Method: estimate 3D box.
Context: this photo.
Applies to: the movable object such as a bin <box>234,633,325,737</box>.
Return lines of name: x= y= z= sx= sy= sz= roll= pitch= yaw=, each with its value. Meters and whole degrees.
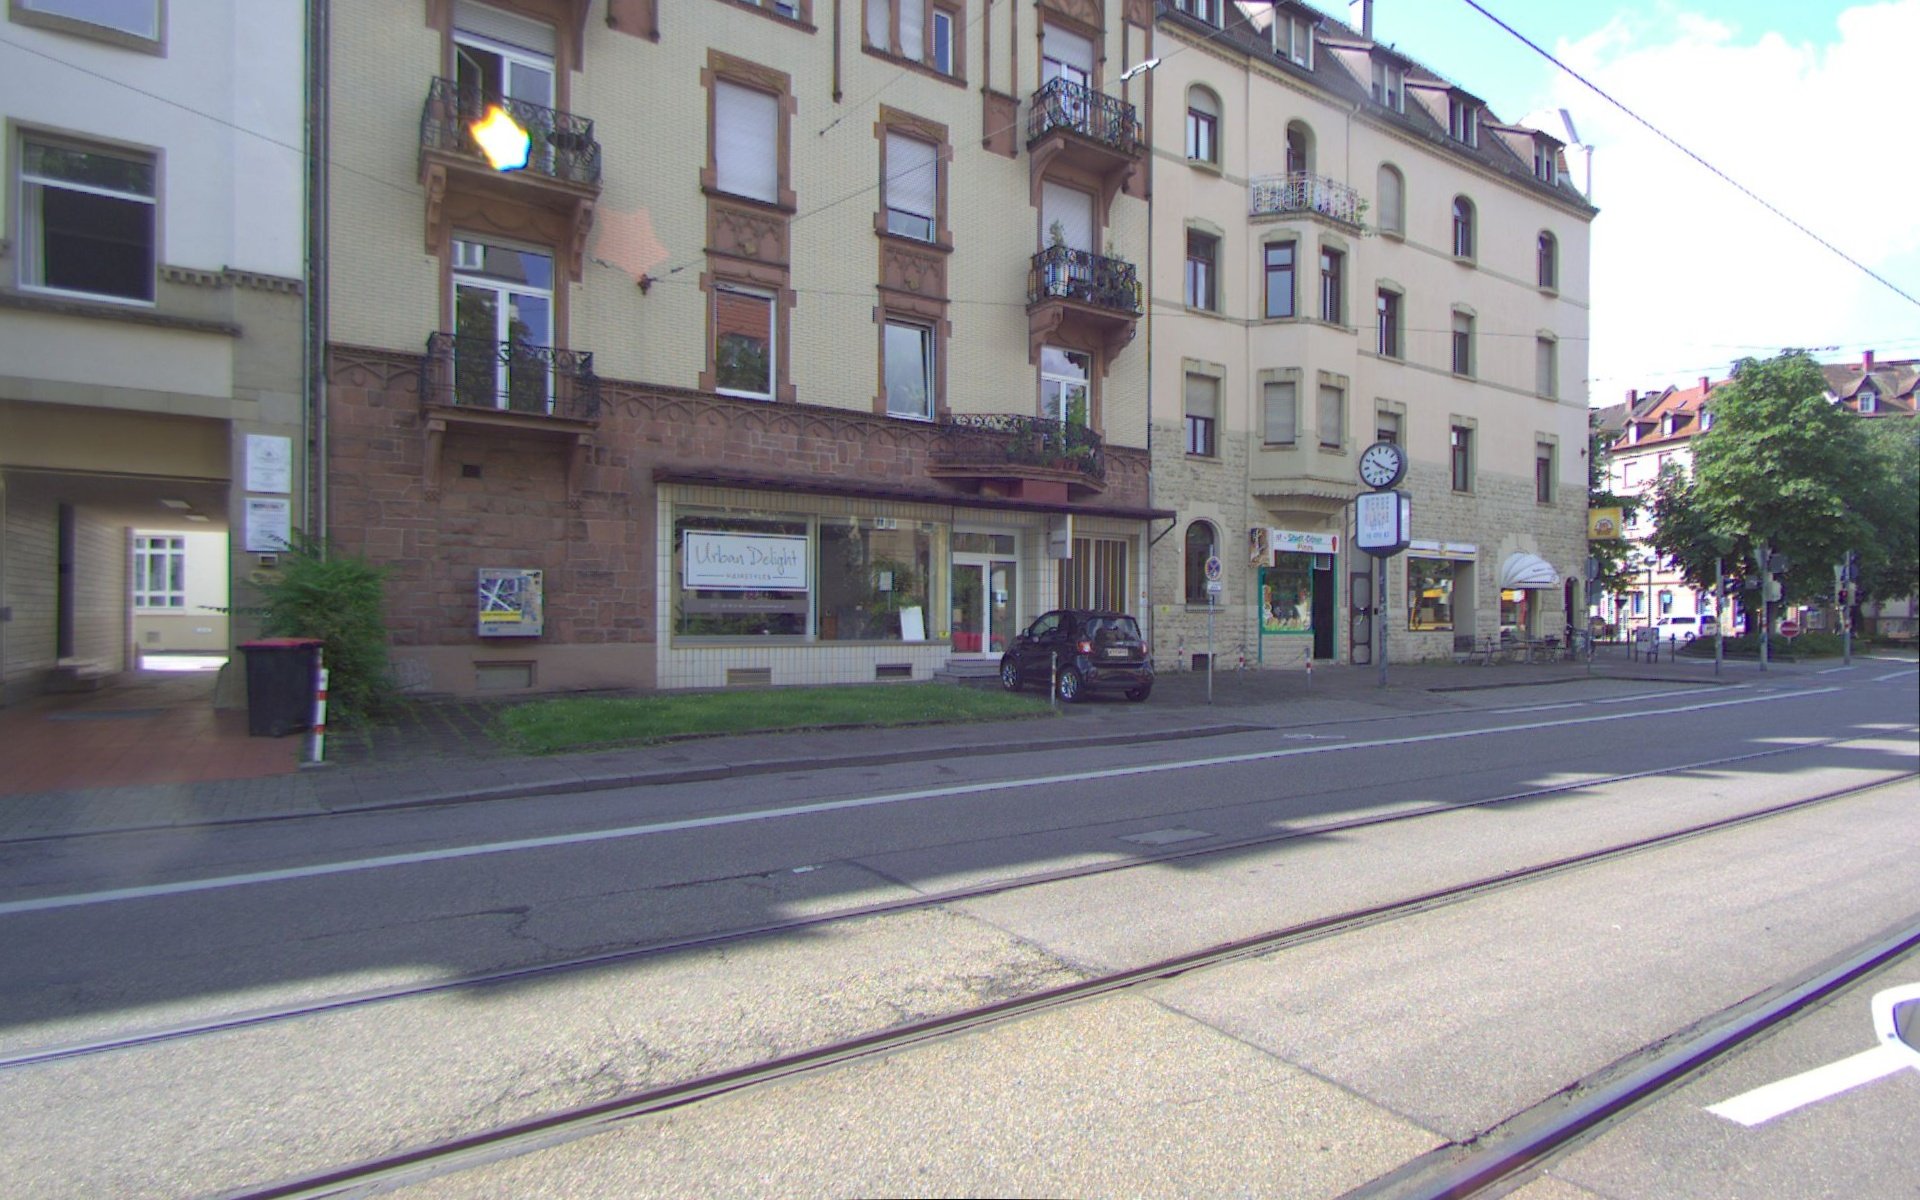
movable object such as a bin: x=-7.639 y=0.942 z=11.292 sx=0.595 sy=1.084 sz=0.597 roll=2 pitch=2 yaw=1

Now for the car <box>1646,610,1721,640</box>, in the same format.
car: x=54.757 y=1.936 z=76.114 sx=1.971 sy=2.039 sz=4.112 roll=0 pitch=-4 yaw=-23

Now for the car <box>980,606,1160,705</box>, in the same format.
car: x=1.902 y=0.927 z=18.171 sx=1.659 sy=1.533 sz=3.221 roll=1 pitch=0 yaw=-29
